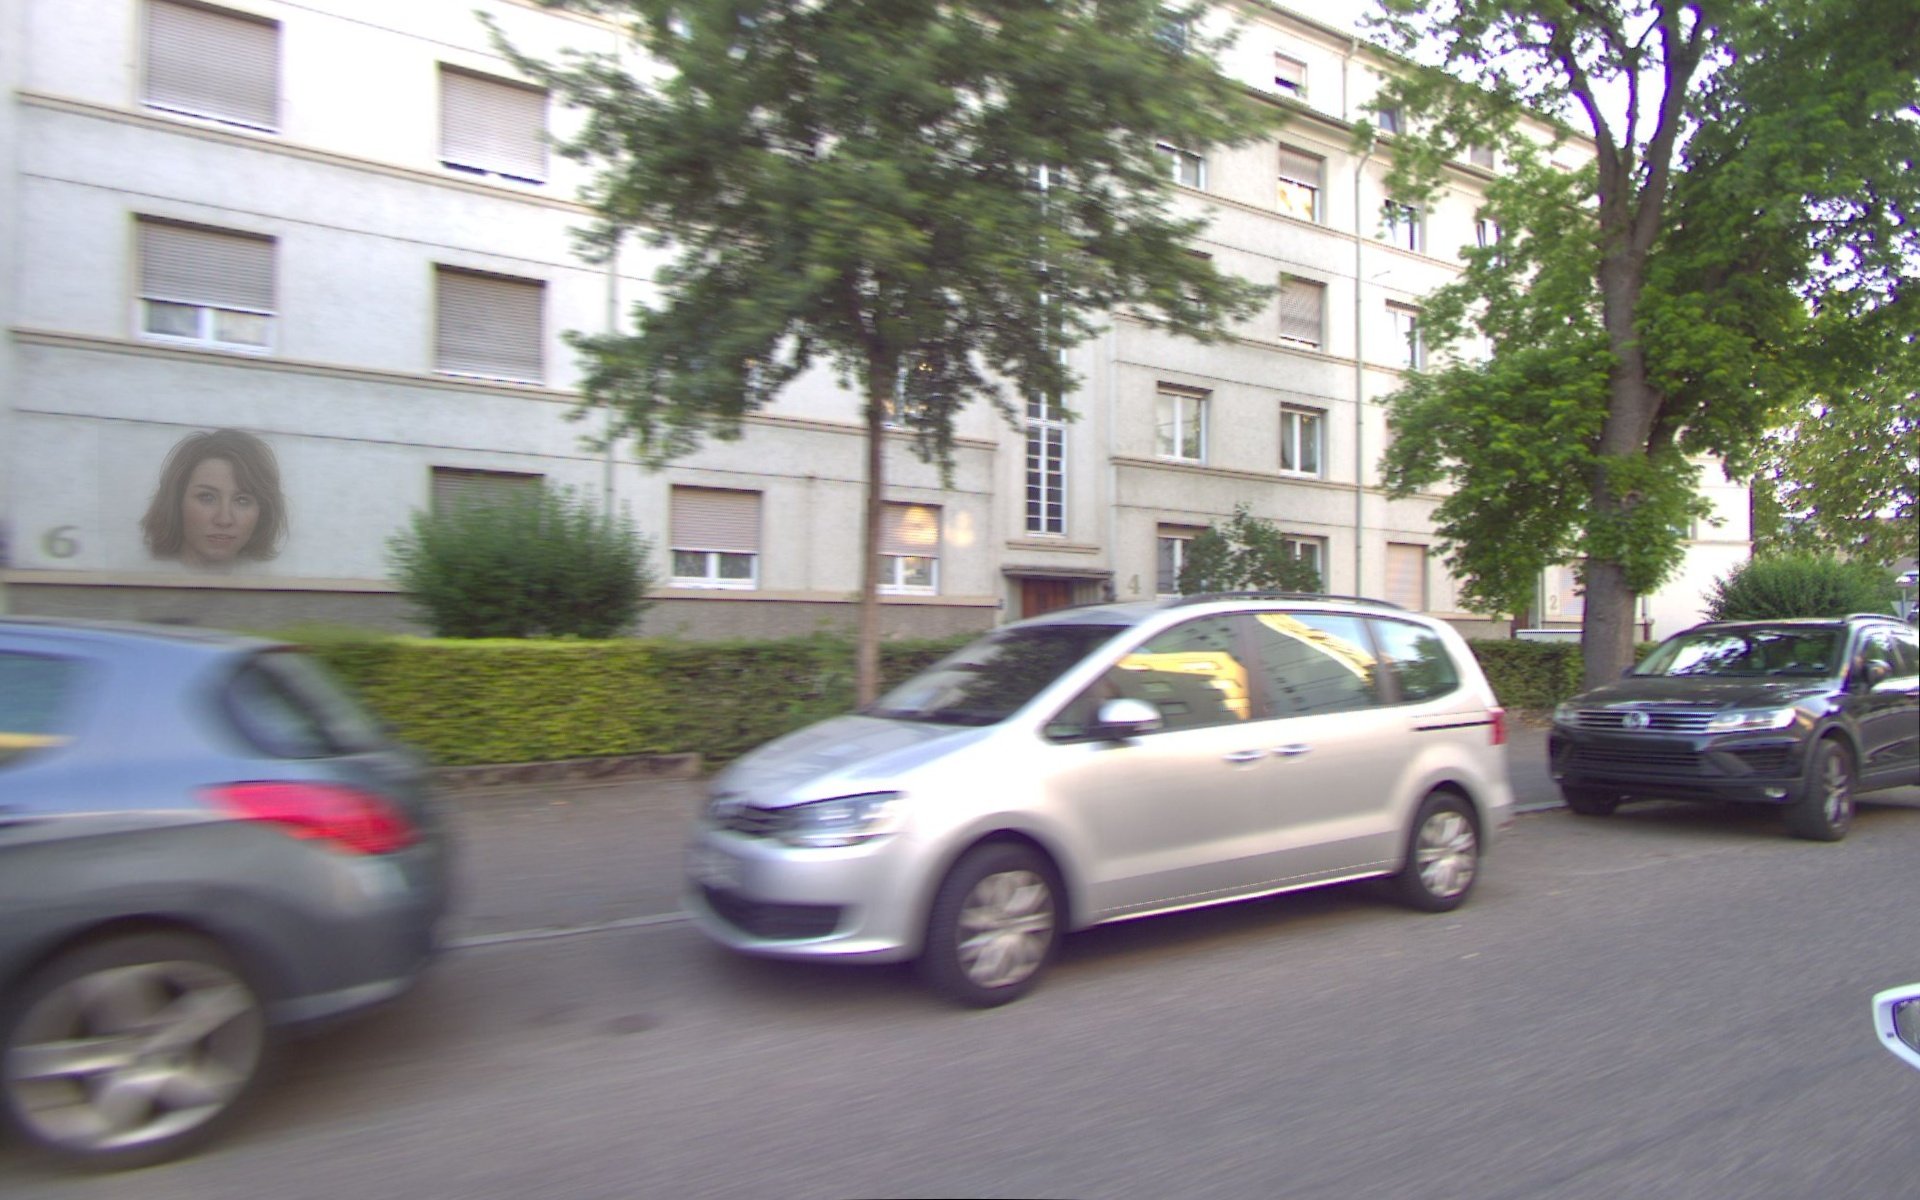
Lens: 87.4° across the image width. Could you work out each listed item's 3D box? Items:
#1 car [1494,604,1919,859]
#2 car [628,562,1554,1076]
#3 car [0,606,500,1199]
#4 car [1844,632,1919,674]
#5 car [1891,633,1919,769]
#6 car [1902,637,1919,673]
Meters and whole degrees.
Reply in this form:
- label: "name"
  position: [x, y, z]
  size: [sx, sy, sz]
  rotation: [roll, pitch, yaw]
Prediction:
- label: "car"
  position: [7.129, 1.014, 8.898]
  size: [4.713, 1.741, 1.946]
  rotation: [1, -4, -29]
- label: "car"
  position: [0.877, 0.841, 5.395]
  size: [4.802, 1.712, 1.838]
  rotation: [1, -4, -30]
- label: "car"
  position: [-3.705, 0.817, 2.960]
  size: [4.210, 1.516, 1.729]
  rotation: [1, -4, -24]
- label: "car"
  position: [42.952, 2.376, 45.502]
  size: [4.546, 1.824, 1.822]
  rotation: [0, -2, -9]
- label: "car"
  position: [13.935, 1.218, 12.583]
  size: [4.548, 1.637, 1.946]
  rotation: [1, -4, -29]
- label: "car"
  position: [42.382, 2.292, 42.307]
  size: [4.553, 1.501, 1.820]
  rotation: [0, -2, -15]
